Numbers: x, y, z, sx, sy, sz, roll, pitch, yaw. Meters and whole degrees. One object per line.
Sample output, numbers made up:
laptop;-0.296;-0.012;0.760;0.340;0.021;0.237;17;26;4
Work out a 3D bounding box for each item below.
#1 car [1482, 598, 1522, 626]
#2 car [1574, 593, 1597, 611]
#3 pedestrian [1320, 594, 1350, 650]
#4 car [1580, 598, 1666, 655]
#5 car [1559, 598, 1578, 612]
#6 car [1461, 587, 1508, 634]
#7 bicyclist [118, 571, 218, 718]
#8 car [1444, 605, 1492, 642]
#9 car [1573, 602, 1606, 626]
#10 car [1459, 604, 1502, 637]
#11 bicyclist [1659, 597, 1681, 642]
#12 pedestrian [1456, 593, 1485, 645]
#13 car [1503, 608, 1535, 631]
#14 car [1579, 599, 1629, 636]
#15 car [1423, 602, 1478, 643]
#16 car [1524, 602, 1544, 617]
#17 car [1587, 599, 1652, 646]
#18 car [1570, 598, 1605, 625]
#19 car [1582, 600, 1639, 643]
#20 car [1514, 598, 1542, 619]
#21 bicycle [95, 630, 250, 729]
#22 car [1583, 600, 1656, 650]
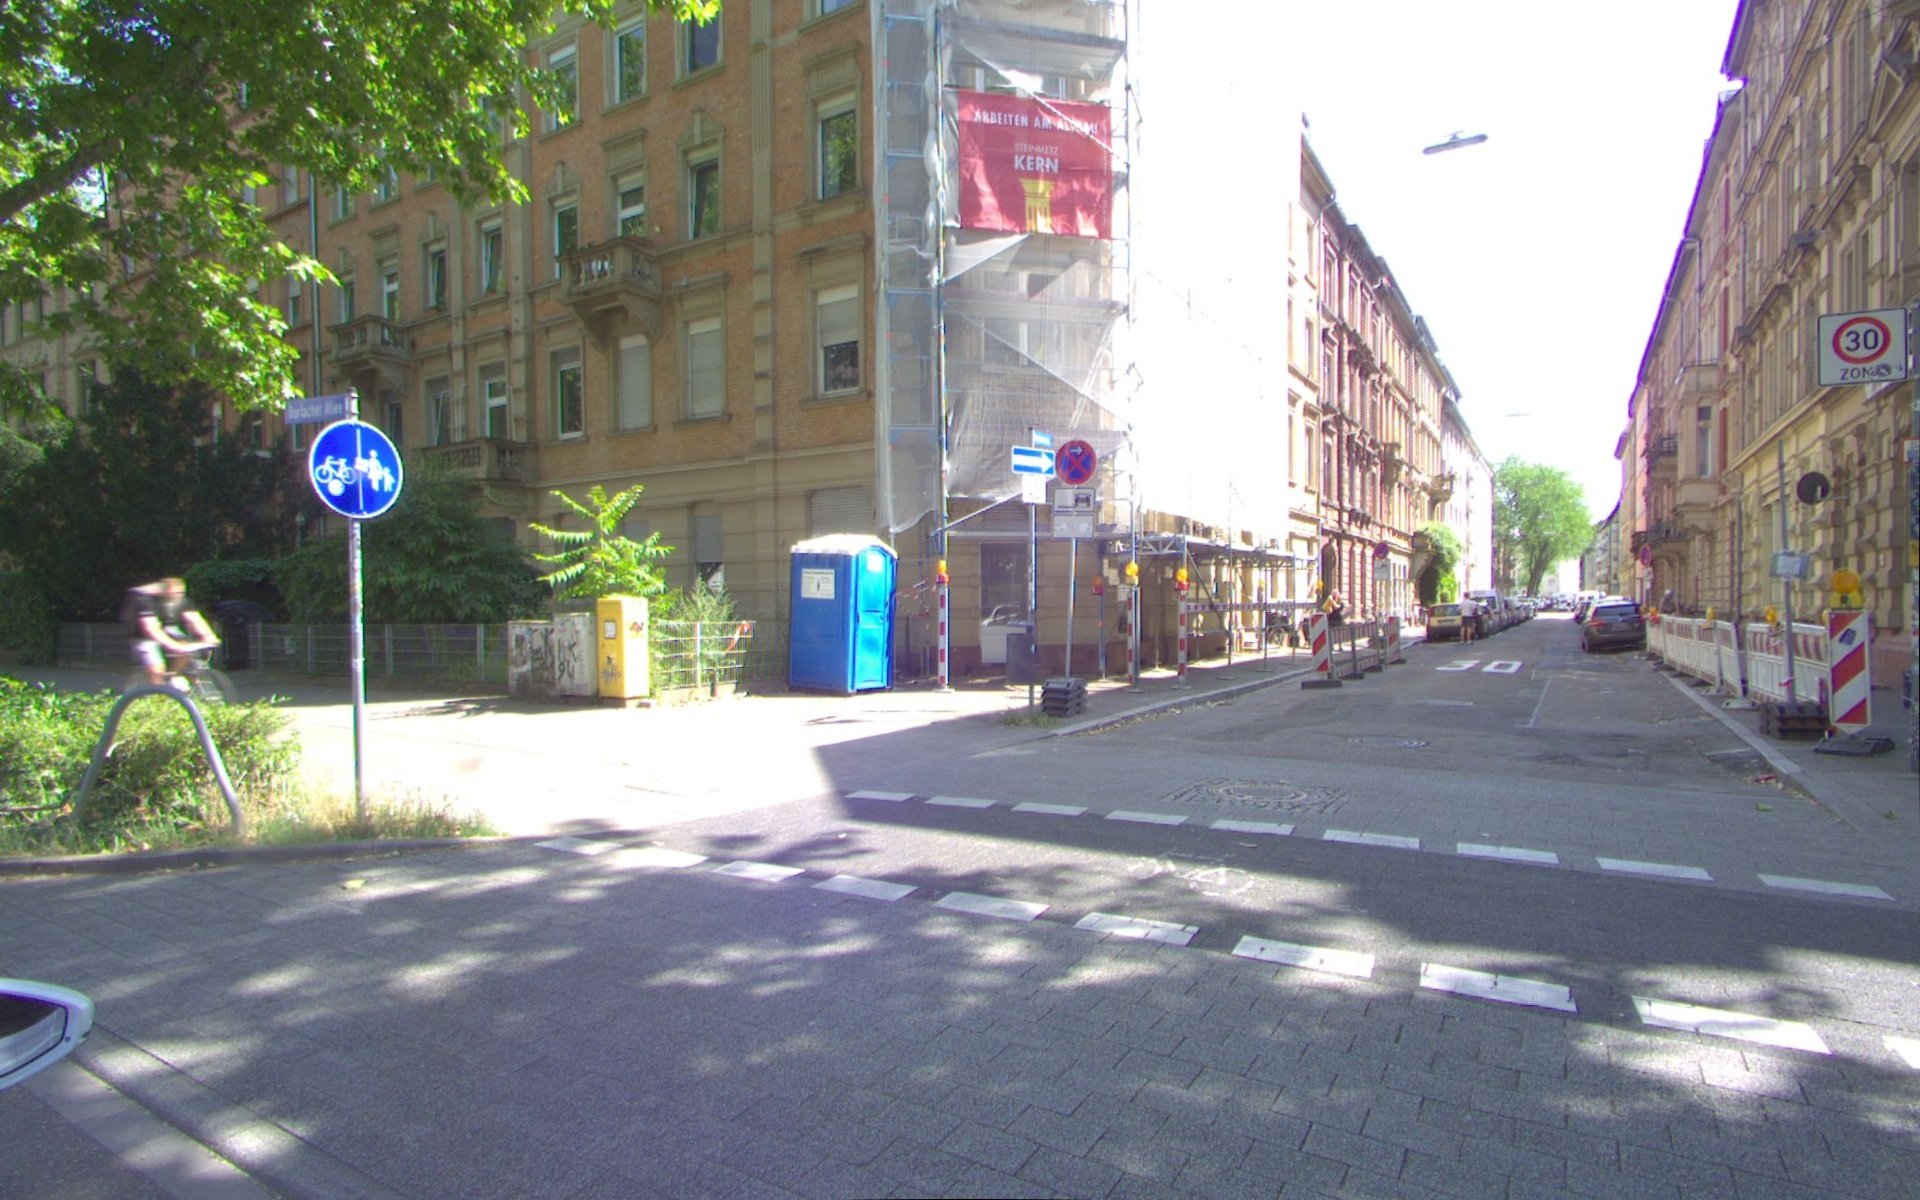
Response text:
car;34.392;0.747;63.493;1.886;1.732;4.139;0;0;33
car;63.352;0.234;101.435;1.971;1.762;3.979;0;0;31
pedestrian;11.701;0.682;31.275;0.843;1.748;0.834;0;0;19
car;19.698;0.750;29.876;1.971;1.572;3.979;0;0;31
car;74.856;0.588;123.293;1.971;1.762;3.979;0;0;31
car;28.232;0.542;53.868;1.886;2.405;4.224;0;0;33
bicyclist;-9.157;0.498;11.591;0.683;1.645;0.623;0;1;22
car;22.577;1.006;44.435;1.702;1.549;3.478;0;0;30
car;46.984;1.026;74.797;1.971;1.762;3.979;0;0;31
car;25.752;1.002;49.490;1.702;1.549;3.478;0;0;30
bicyclist;23.479;0.643;33.106;0.525;1.472;0.459;0;1;28
pedestrian;18.259;0.684;35.818;0.922;1.822;1.034;0;1;29
car;42.321;1.452;75.790;1.886;1.732;4.139;0;0;33
car;31.747;0.849;49.476;1.971;1.762;3.979;0;0;31
car;19.517;0.868;39.792;1.702;1.549;3.478;0;0;30
car;58.262;0.957;101.668;1.646;1.420;3.343;0;0;32
car;25.695;0.835;39.136;1.971;1.762;3.979;0;0;31
car;43.006;0.780;68.729;1.971;1.762;3.979;0;0;31
car;28.472;0.904;43.928;1.971;1.762;3.979;0;0;31
car;48.062;0.721;84.644;1.886;1.732;4.140;0;0;32
bicycle;-9.104;0.893;11.569;1.893;1.063;0.531;-1;1;23
car;23.027;0.824;35.098;1.971;1.661;3.979;0;0;31
